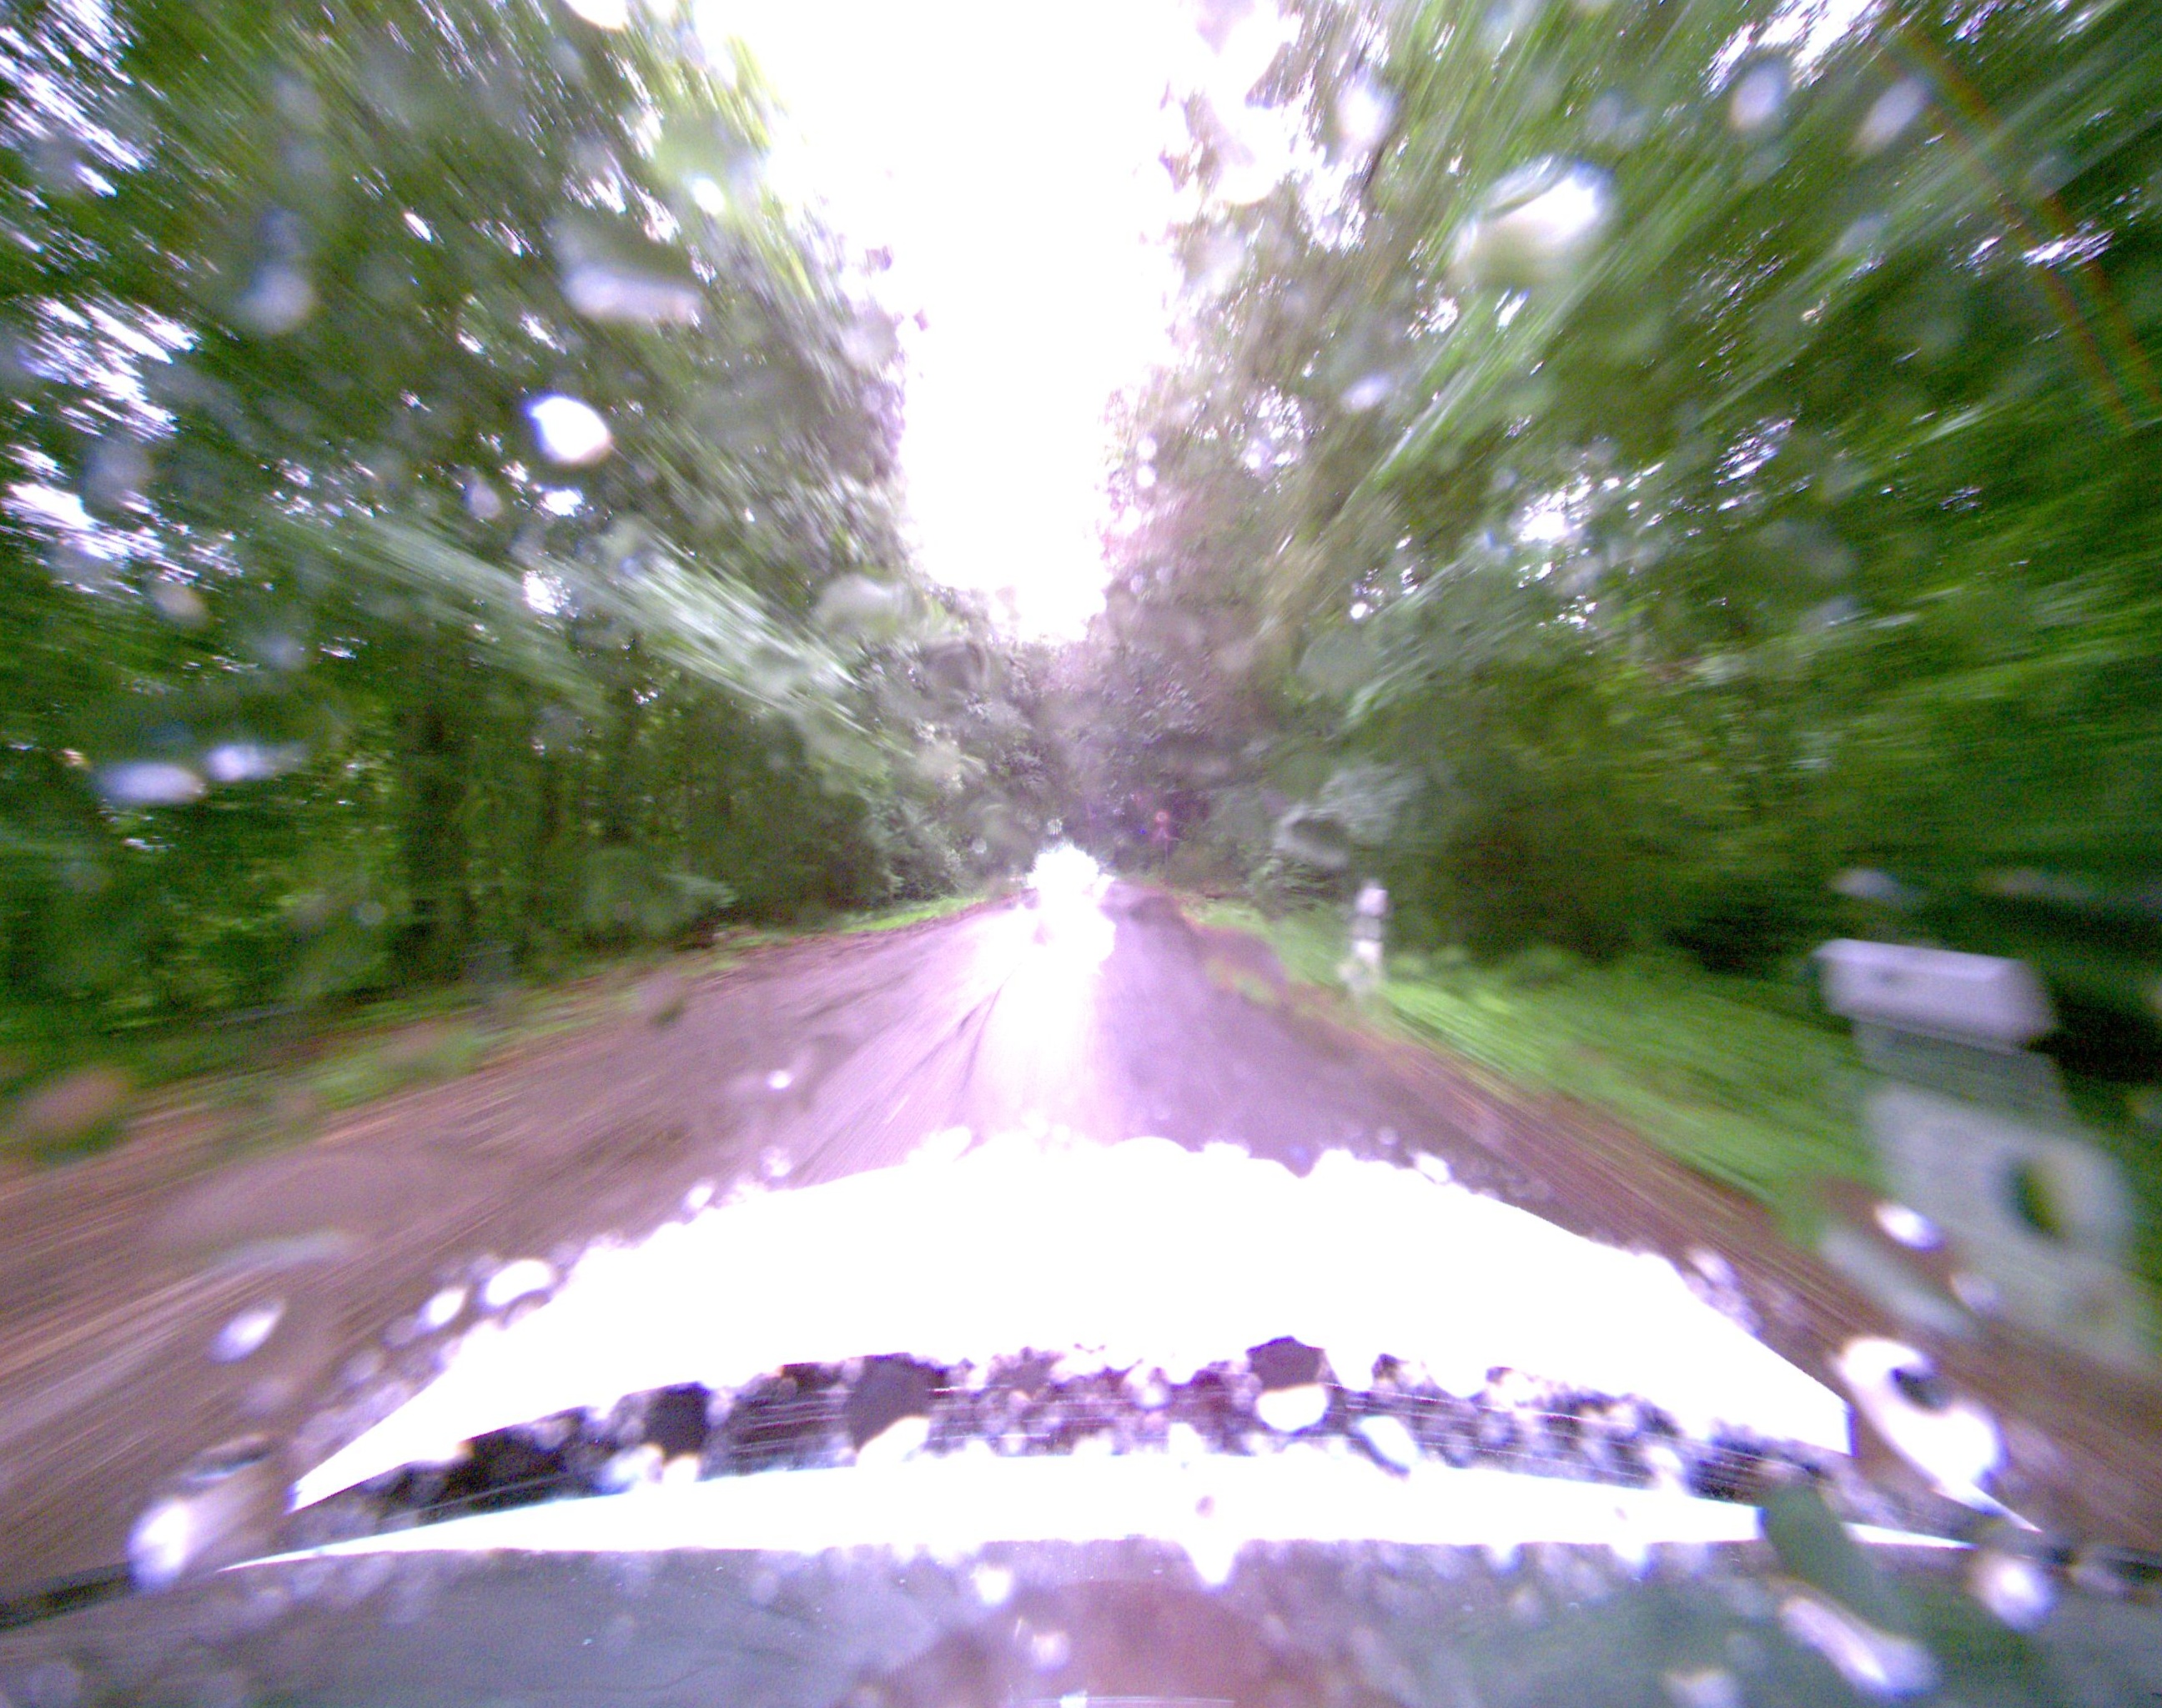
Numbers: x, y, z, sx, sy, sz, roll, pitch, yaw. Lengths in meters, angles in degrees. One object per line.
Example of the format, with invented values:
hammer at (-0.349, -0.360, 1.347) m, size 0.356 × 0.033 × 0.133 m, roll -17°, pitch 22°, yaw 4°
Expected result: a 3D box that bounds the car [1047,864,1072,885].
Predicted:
car at (-1.655, 1.589, 64.325) m, size 1.708 × 1.475 × 3.890 m, roll -4°, pitch -1°, yaw 0°
